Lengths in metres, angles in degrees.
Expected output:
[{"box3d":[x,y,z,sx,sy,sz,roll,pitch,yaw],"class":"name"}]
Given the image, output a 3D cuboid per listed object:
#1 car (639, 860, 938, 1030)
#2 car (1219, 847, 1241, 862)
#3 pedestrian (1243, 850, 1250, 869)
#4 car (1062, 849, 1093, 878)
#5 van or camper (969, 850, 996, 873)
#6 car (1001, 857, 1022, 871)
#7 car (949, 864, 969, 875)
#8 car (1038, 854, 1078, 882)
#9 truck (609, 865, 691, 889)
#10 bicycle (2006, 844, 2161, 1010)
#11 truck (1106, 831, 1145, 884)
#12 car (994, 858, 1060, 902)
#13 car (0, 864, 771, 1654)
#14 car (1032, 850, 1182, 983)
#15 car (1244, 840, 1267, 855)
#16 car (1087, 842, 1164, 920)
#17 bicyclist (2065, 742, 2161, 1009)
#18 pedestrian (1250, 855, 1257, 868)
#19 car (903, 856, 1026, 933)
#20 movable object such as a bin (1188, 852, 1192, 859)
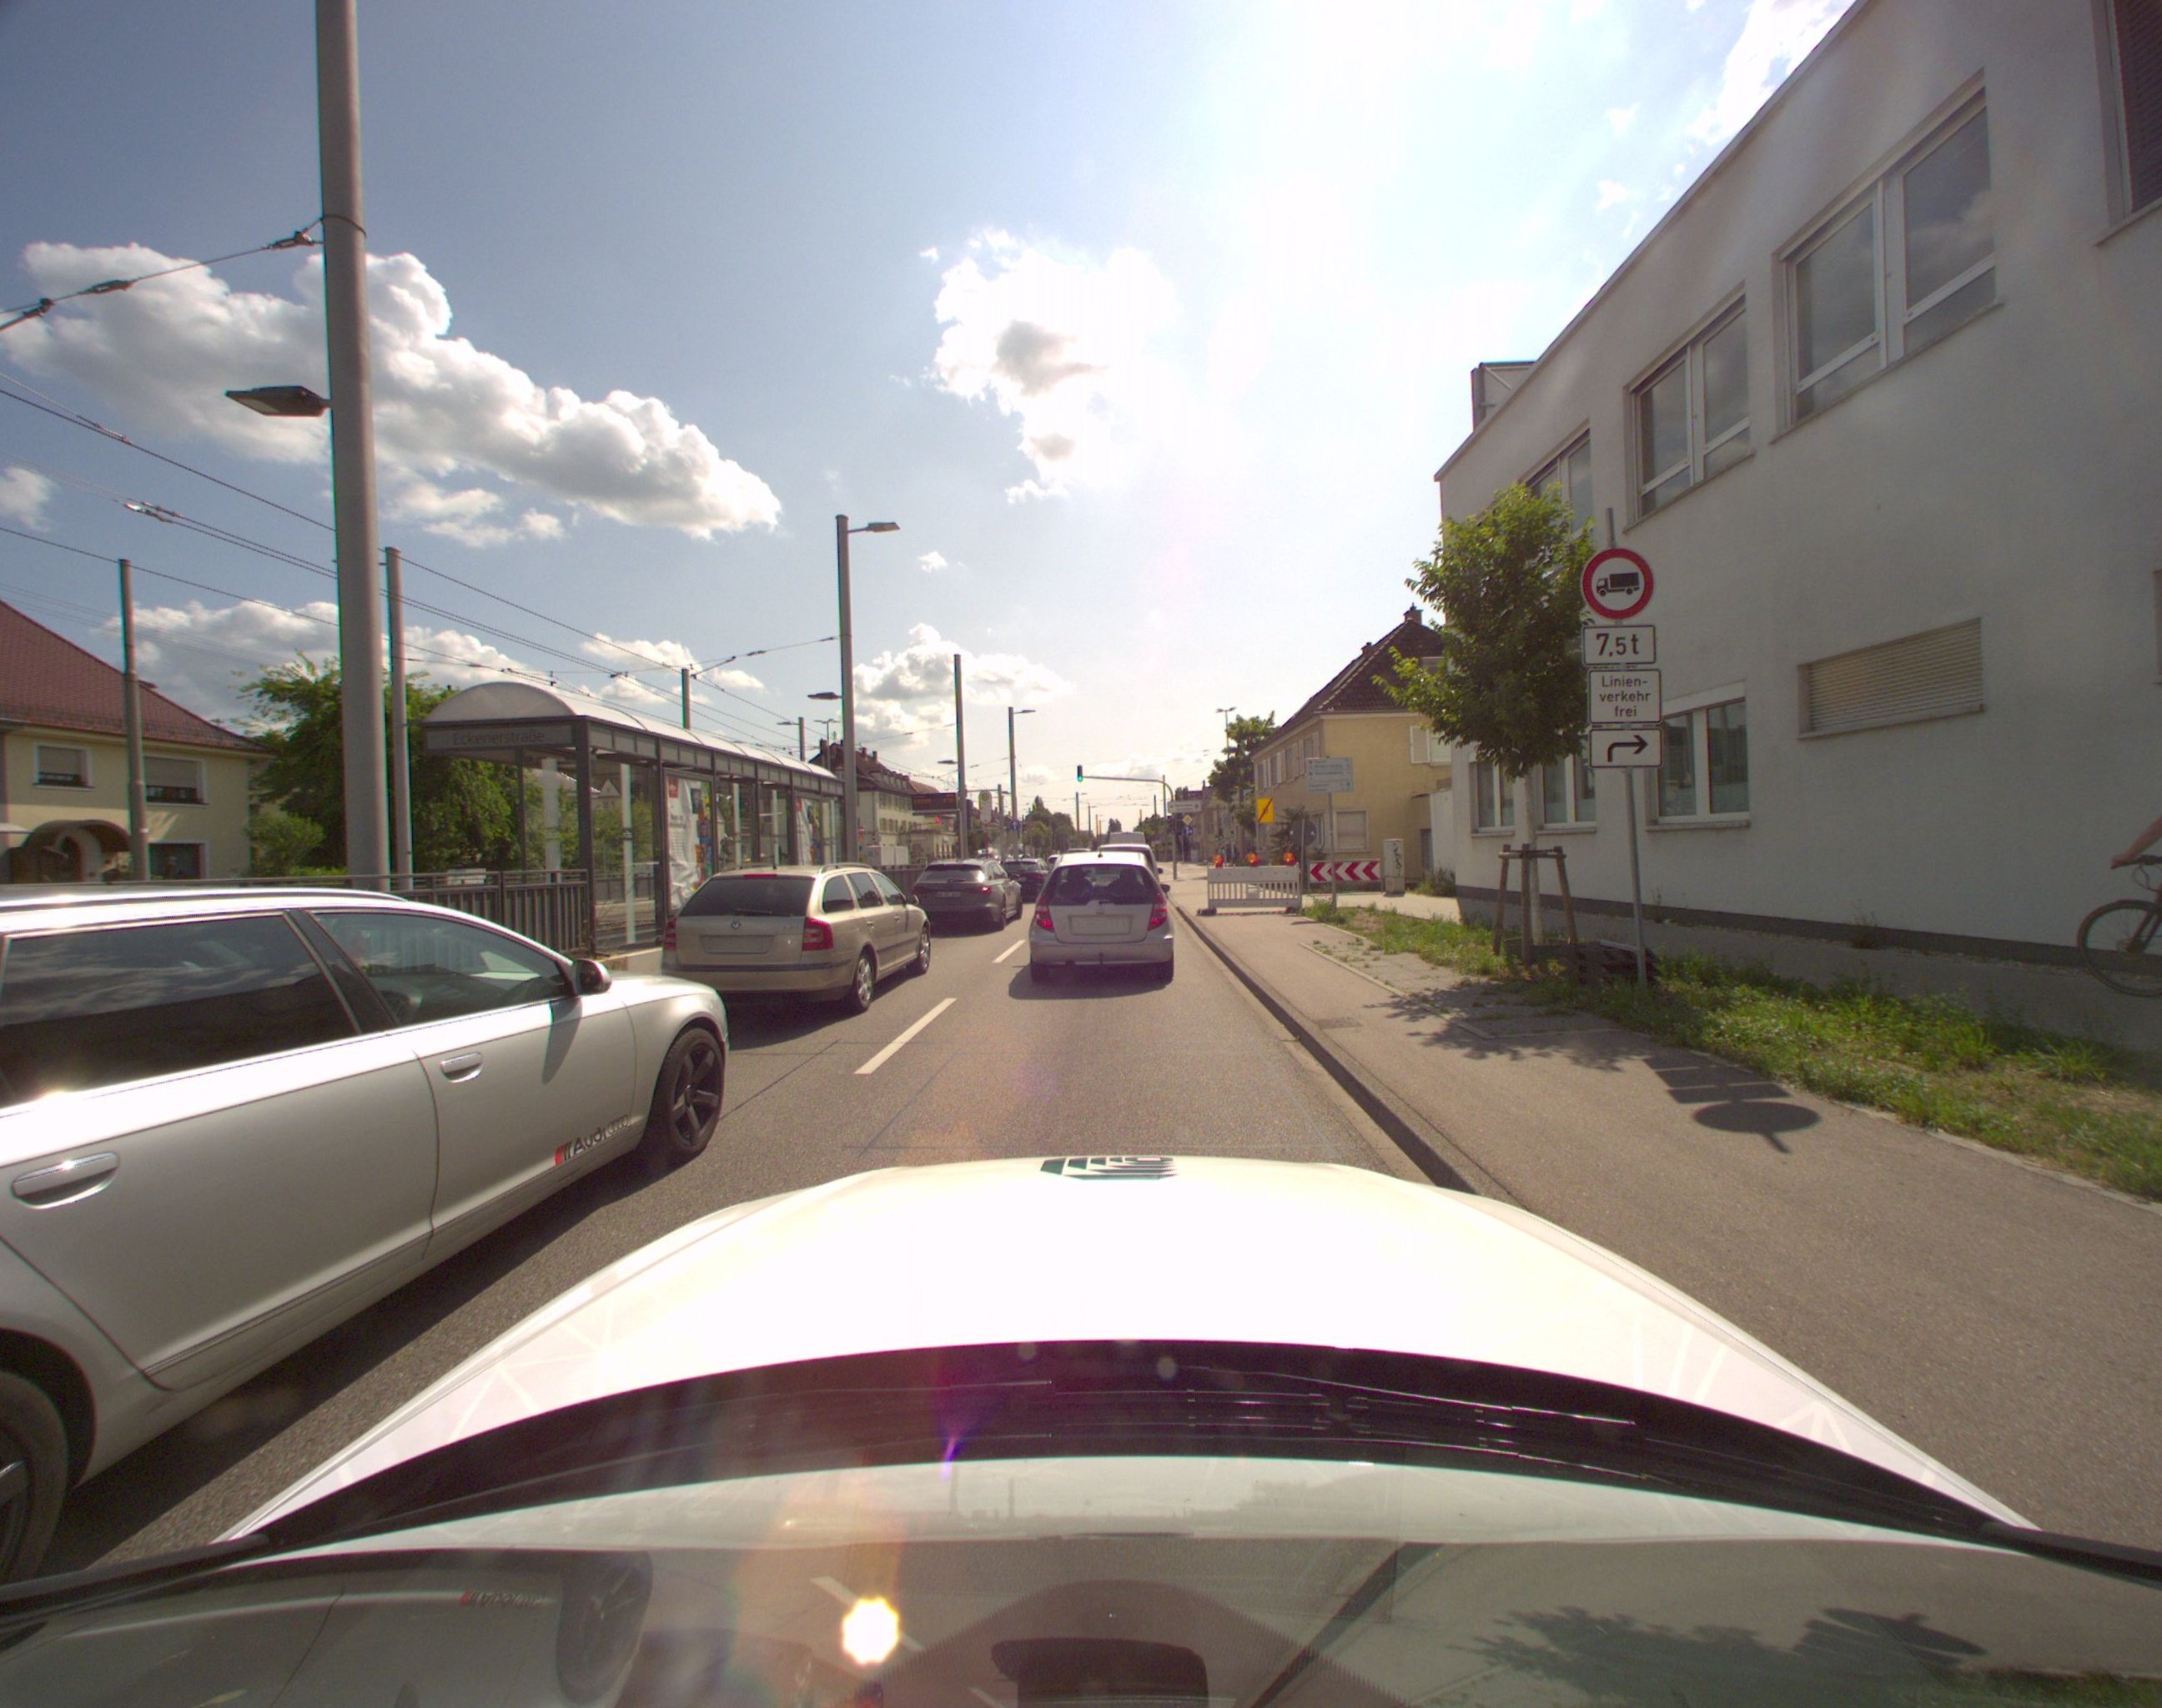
[{"box3d":[-2.887,0.800,9.070,1.724,1.449,4.124,0,-1,2],"class":"car"},{"box3d":[16.509,0.070,90.275,1.985,1.596,4.135,0,-1,4],"class":"car"},{"box3d":[13.709,0.457,67.534,0.543,1.643,0.402,-1,-1,8],"class":"pedestrian"},{"box3d":[-0.202,0.606,52.920,1.845,1.843,3.920,0,-1,2],"class":"car"},{"box3d":[-13.887,1.026,115.316,2.314,2.929,7.762,-3,0,4],"class":"van or camper"},{"box3d":[-9.585,1.328,112.627,1.983,1.776,4.886,-4,0,6],"class":"car"},{"box3d":[-15.006,1.890,100.427,1.679,1.351,4.345,0,-1,0],"class":"car"},{"box3d":[-1.152,0.708,42.827,1.845,1.388,3.920,0,-1,2],"class":"car"},{"box3d":[-35.881,1.881,67.837,6.154,1.922,1.692,-1,-1,5],"class":"truck"},{"box3d":[7.690,0.492,5.456,0.824,1.075,1.974,-3,0,6],"class":"bicycle"},{"box3d":[2.218,0.196,42.087,1.845,2.552,5.857,0,-1,2],"class":"truck"},{"box3d":[-1.795,0.863,28.327,1.845,1.388,4.516,0,-1,2],"class":"car"},{"box3d":[-2.893,0.783,2.701,1.788,1.472,4.723,0,-1,2],"class":"car"},{"box3d":[0.345,0.726,11.421,1.724,1.517,4.017,0,0,1],"class":"car"},{"box3d":[19.324,-0.746,90.330,1.985,1.596,4.135,0,-1,4],"class":"car"},{"box3d":[1.063,0.625,20.545,1.724,1.762,4.017,0,-1,1],"class":"car"},{"box3d":[7.655,0.127,5.428,0.824,1.793,1.085,-3,0,5],"class":"bicyclist"},{"box3d":[14.308,0.630,67.600,0.485,1.136,0.389,-1,-1,7],"class":"pedestrian"},{"box3d":[-2.416,0.802,18.053,1.909,1.477,4.564,0,0,2],"class":"car"},{"box3d":[14.362,0.239,107.059,0.466,0.946,0.558,-2,-1,3],"class":"movable object such as a bin"}]
